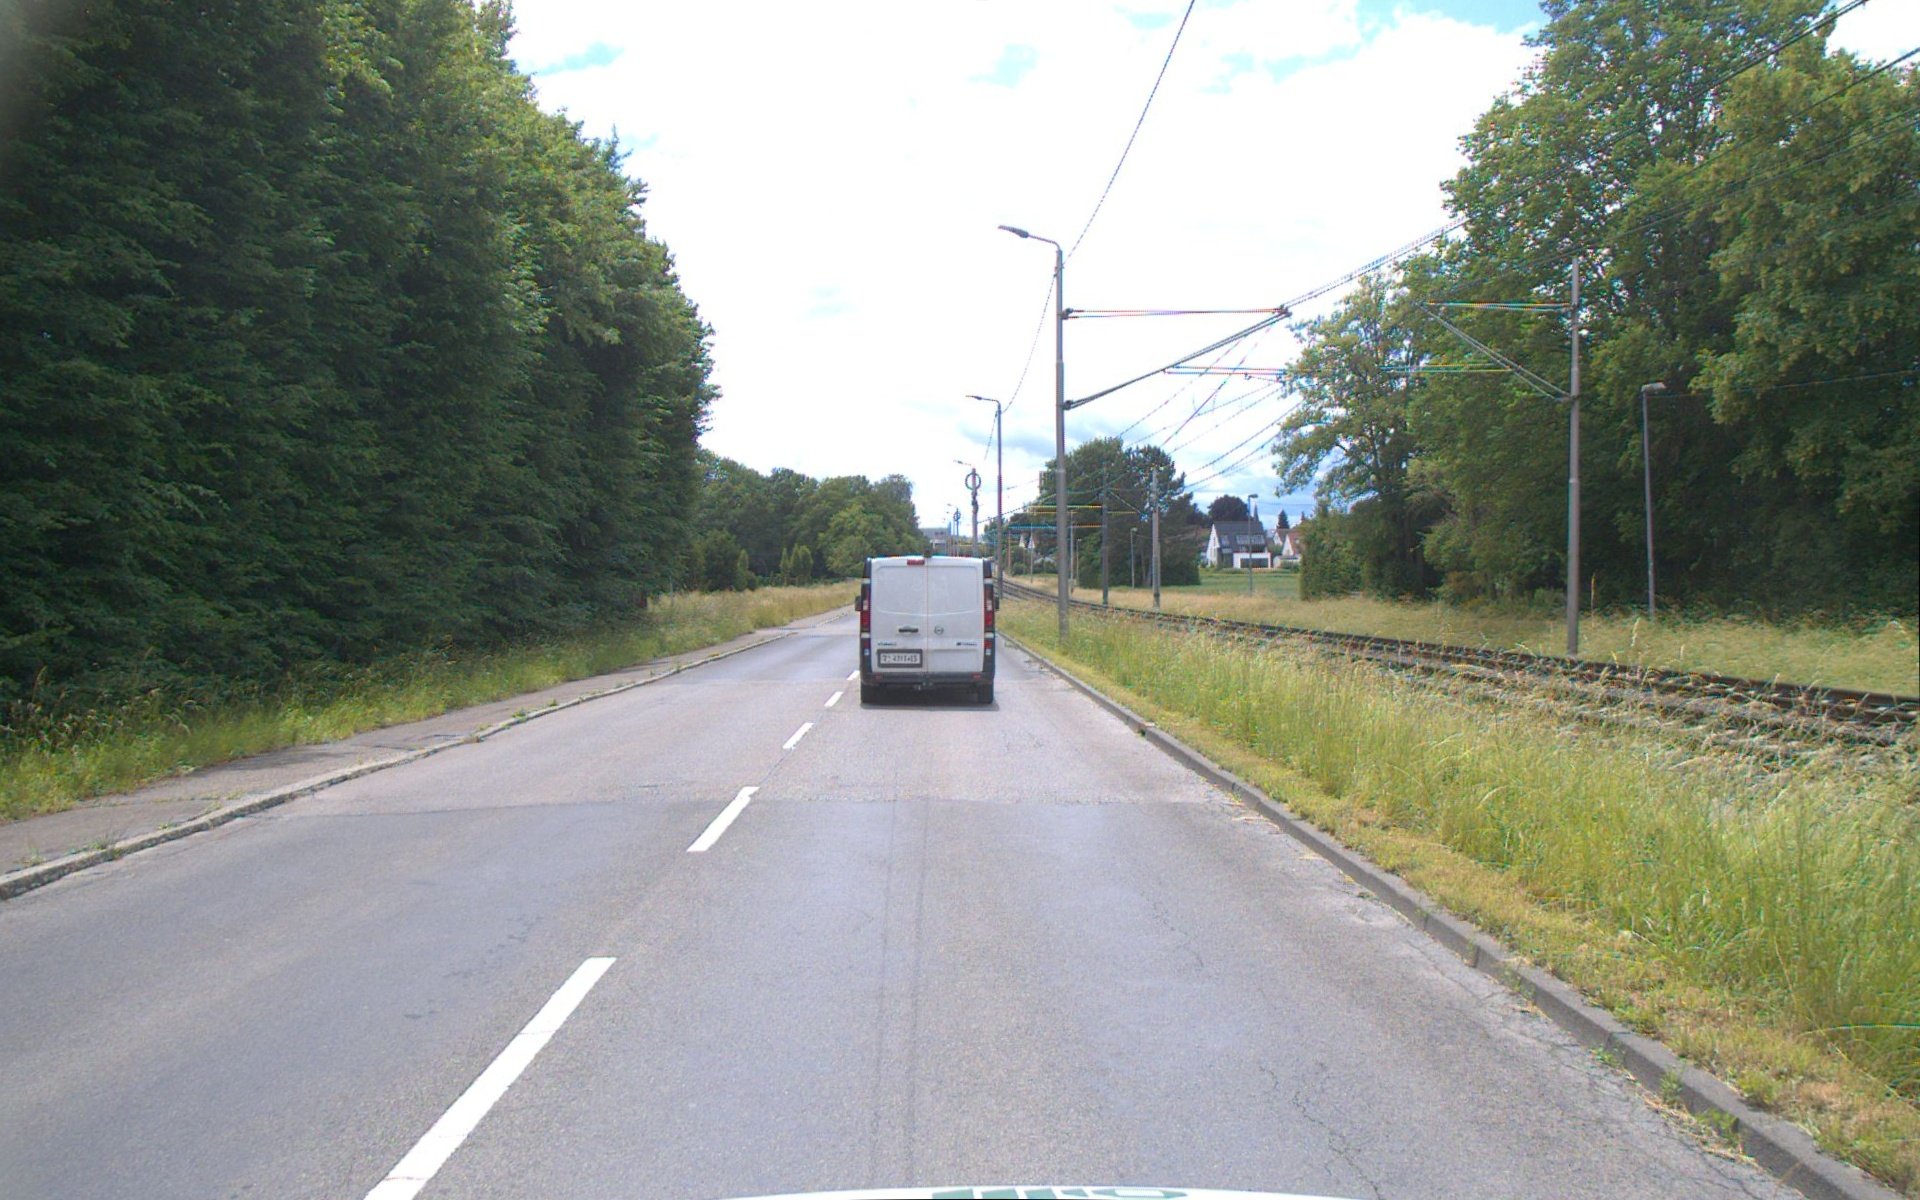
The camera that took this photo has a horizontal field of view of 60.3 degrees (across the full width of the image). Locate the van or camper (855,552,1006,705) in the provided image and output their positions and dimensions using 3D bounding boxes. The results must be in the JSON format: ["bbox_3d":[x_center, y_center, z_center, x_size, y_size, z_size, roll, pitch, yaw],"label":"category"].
[{"bbox_3d":[-0.324,0.341,23.420,1.902,1.930,4.286,1,1,2],"label":"van or camper"}]
